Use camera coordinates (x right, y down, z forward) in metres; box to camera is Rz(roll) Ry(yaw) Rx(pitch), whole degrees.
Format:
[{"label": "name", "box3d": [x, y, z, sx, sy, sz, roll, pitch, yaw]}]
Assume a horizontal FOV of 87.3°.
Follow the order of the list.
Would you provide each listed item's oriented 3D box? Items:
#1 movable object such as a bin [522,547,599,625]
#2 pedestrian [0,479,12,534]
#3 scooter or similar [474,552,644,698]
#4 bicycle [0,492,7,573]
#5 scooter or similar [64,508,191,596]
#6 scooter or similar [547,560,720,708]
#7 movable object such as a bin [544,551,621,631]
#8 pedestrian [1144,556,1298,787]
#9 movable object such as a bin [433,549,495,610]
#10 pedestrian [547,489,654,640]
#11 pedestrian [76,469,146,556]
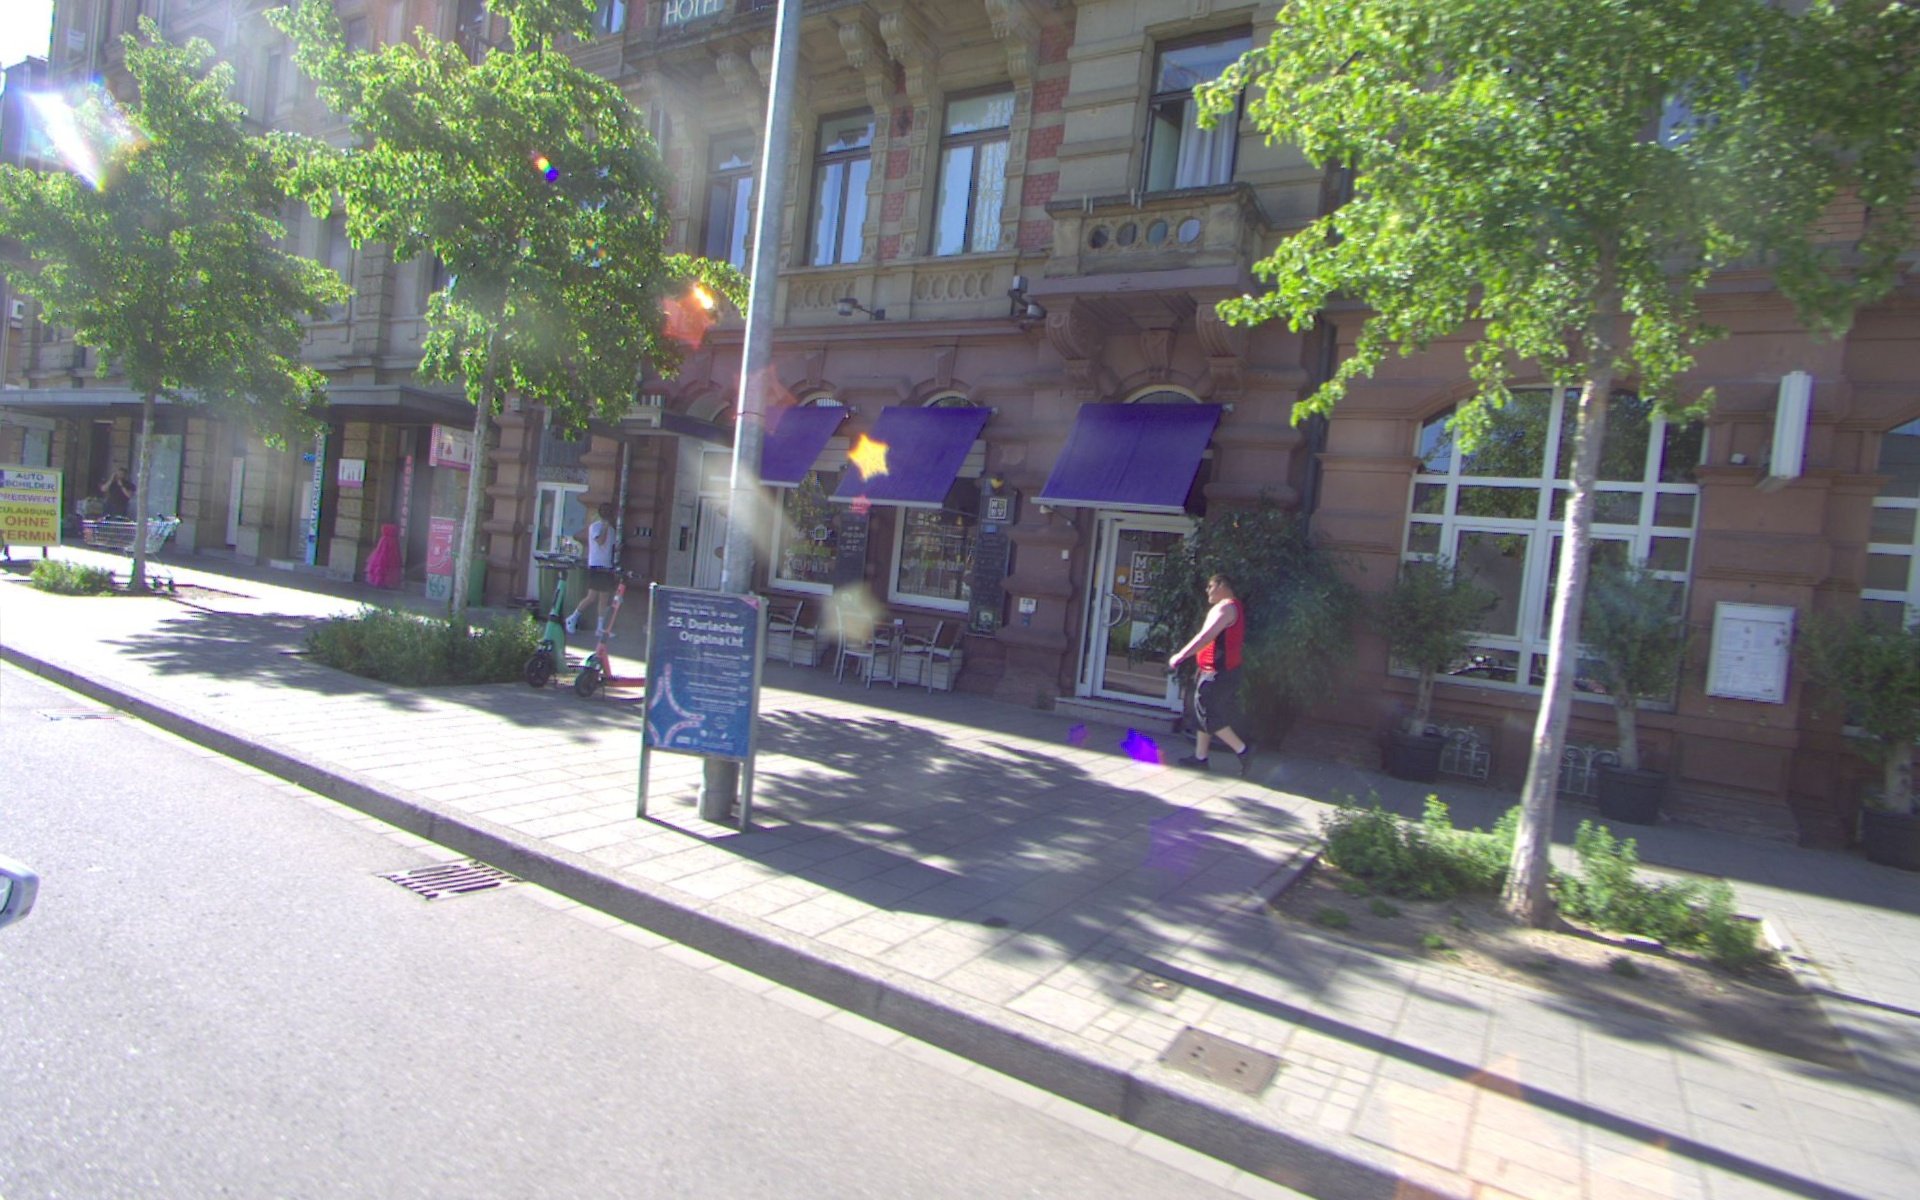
[{"label": "movable object such as a bin", "box3d": [-6.283, -0.208, 15.844, 0.734, 1.111, 0.726, 7, 1, 26]}, {"label": "pedestrian", "box3d": [-23.710, -2.318, 24.365, 0.991, 1.305, 0.832, 7, 3, 32]}, {"label": "scooter or similar", "box3d": [-3.815, 0.221, 9.682, 0.591, 1.233, 1.476, 8, 3, 20]}, {"label": "bicycle", "box3d": [-15.377, -1.071, 14.816, 0.491, 1.250, 1.881, 6, 3, 25]}, {"label": "scooter or similar", "box3d": [-12.182, -0.690, 14.748, 0.770, 1.121, 1.220, 8, 3, 33]}, {"label": "scooter or similar", "box3d": [-3.052, 0.305, 9.525, 0.591, 1.233, 1.475, 8, 3, 27]}, {"label": "movable object such as a bin", "box3d": [-5.732, -0.136, 15.301, 0.734, 1.113, 0.726, 7, 3, 26]}, {"label": "pedestrian", "box3d": [2.217, 0.585, 8.487, 0.851, 1.753, 0.997, 6, 0, 30]}, {"label": "movable object such as a bin", "box3d": [-8.426, -0.347, 17.109, 0.639, 0.928, 0.605, 7, 1, 26]}, {"label": "pedestrian", "box3d": [-5.127, -0.503, 14.358, 1.029, 2.038, 0.819, 4, -1, 31]}, {"label": "pedestrian", "box3d": [-18.459, -1.901, 21.877, 0.872, 1.765, 0.844, 6, 2, 31]}]
